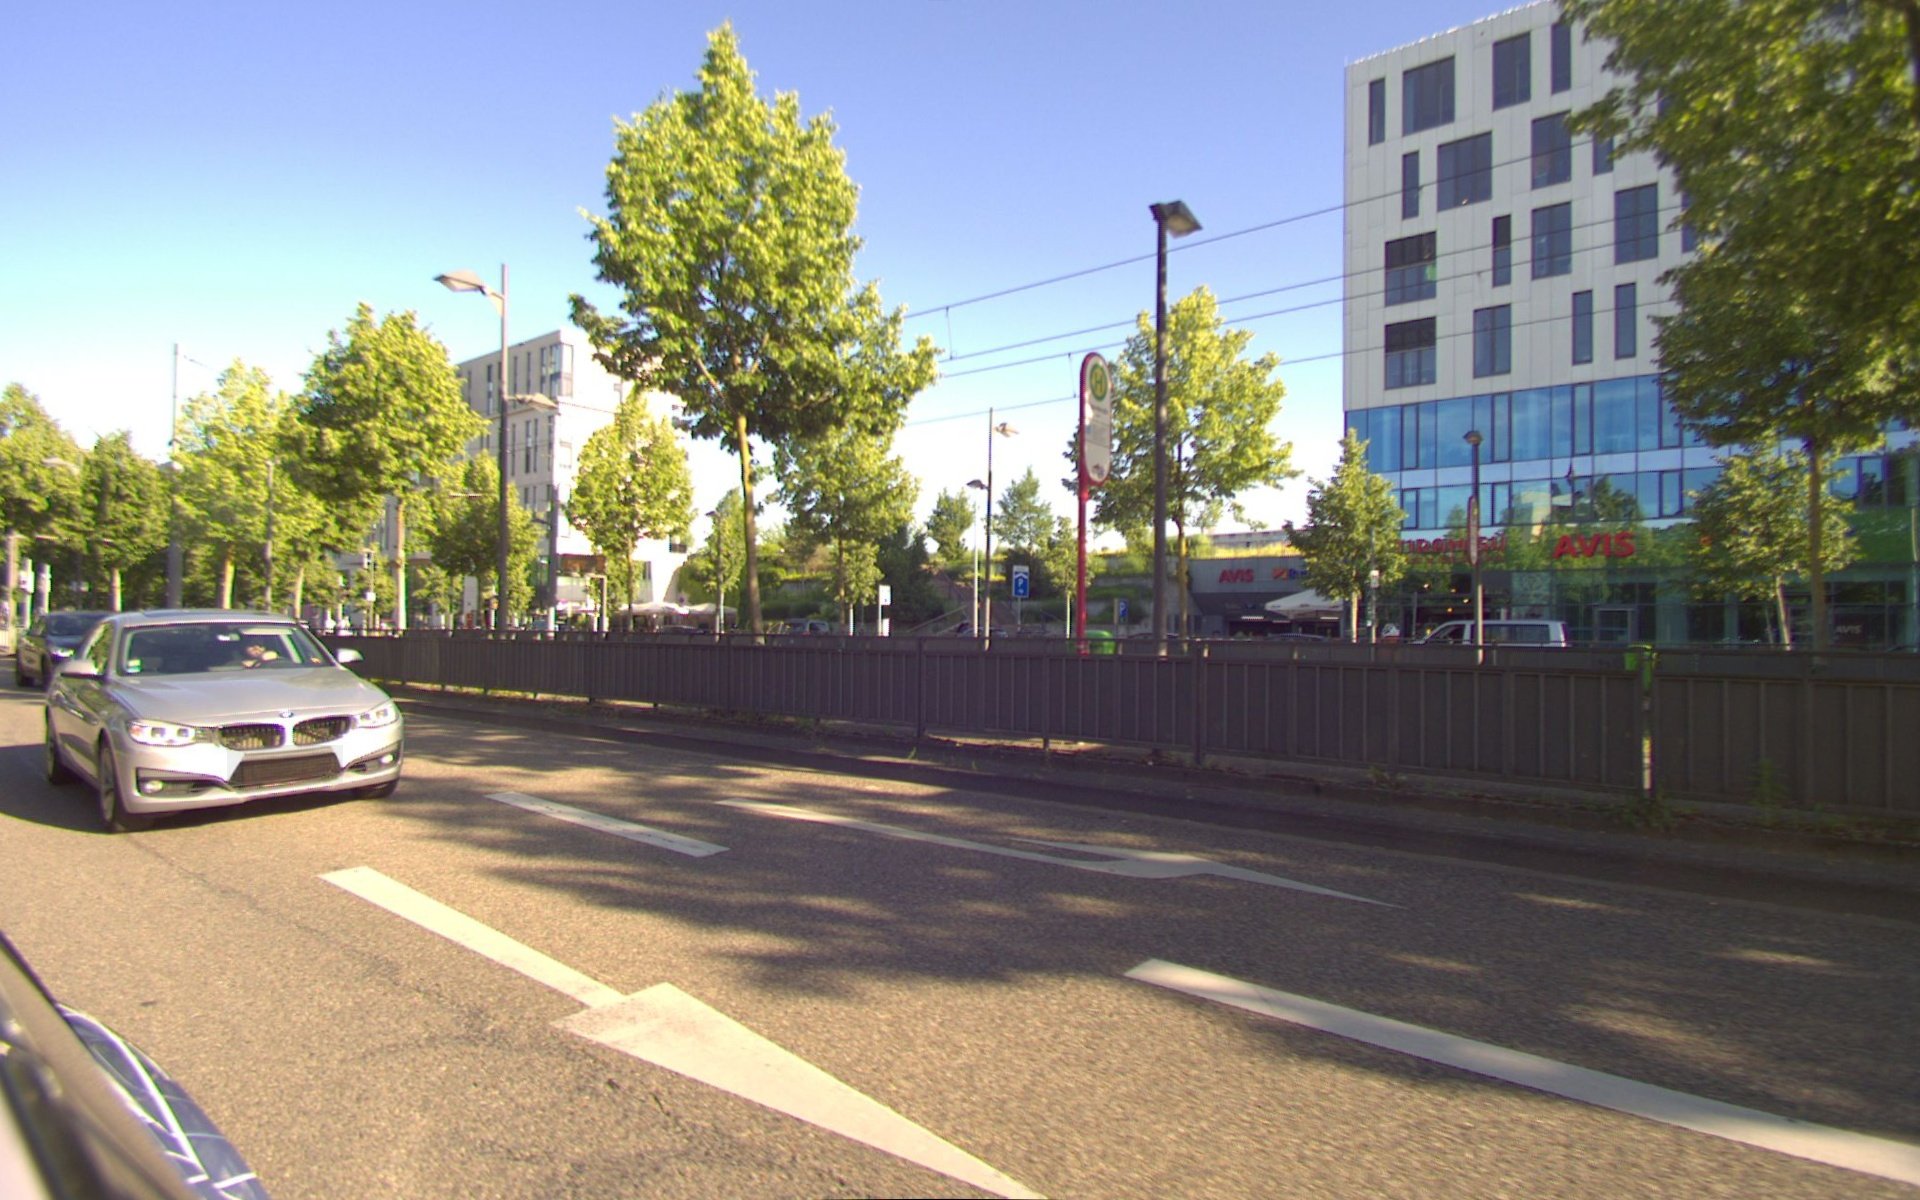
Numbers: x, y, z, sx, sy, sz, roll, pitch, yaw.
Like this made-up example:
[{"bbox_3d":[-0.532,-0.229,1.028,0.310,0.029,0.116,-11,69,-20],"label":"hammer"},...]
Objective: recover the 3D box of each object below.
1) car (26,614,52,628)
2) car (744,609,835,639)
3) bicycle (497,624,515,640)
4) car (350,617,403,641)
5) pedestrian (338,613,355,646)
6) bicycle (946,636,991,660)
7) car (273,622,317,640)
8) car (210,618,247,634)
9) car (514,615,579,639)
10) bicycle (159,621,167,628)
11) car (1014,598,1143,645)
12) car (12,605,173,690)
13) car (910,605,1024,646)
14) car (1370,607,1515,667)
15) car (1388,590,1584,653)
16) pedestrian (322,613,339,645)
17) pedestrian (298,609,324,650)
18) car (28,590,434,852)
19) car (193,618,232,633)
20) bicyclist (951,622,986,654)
[{"bbox_3d":[-111.094,2.522,122.061,4.165,1.583,1.972,-1,-2,42],"label":"car"},{"bbox_3d":[-8.396,1.147,49.558,4.607,1.335,1.893,0,0,40],"label":"car"},{"bbox_3d":[-36.621,2.568,81.613,1.838,1.262,0.582,0,0,39],"label":"bicycle"},{"bbox_3d":[-46.637,2.295,80.801,4.768,1.785,1.975,0,0,37],"label":"car"},{"bbox_3d":[-29.343,1.404,48.418,0.603,1.508,0.537,0,0,43],"label":"pedestrian"},{"bbox_3d":[0.376,2.172,46.146,2.186,1.009,0.492,0,0,39],"label":"bicycle"},{"bbox_3d":[-60.348,2.808,91.812,4.448,1.452,1.975,0,0,37],"label":"car"},{"bbox_3d":[-74.468,2.645,102.957,4.451,1.452,1.974,0,0,39],"label":"car"},{"bbox_3d":[-25.879,1.659,63.329,4.607,1.445,1.860,-1,-1,40],"label":"car"},{"bbox_3d":[-113.970,3.527,144.685,1.847,0.960,0.574,0,0,41],"label":"bicycle"},{"bbox_3d":[4.482,0.762,38.640,4.607,1.684,1.973,0,0,40],"label":"car"},{"bbox_3d":[-17.613,0.887,20.486,3.998,1.534,1.926,0,-1,41],"label":"car"},{"bbox_3d":[0.250,1.031,42.417,4.607,1.620,1.973,0,0,40],"label":"car"},{"bbox_3d":[17.960,1.313,37.785,4.560,2.029,1.973,0,1,40],"label":"car"},{"bbox_3d":[15.499,0.575,29.971,4.848,1.727,1.973,0,0,40],"label":"car"},{"bbox_3d":[-30.199,1.379,48.539,0.589,1.529,0.544,0,0,44],"label":"pedestrian"},{"bbox_3d":[-29.884,1.325,46.590,0.725,1.850,0.813,0,0,37],"label":"pedestrian"},{"bbox_3d":[-6.125,0.733,8.297,4.277,1.590,1.862,0,0,42],"label":"car"},{"bbox_3d":[-78.324,2.666,106.004,4.771,1.452,1.975,0,0,37],"label":"car"},{"bbox_3d":[0.390,1.706,46.136,1.659,1.416,0.484,0,0,39],"label":"bicyclist"}]
